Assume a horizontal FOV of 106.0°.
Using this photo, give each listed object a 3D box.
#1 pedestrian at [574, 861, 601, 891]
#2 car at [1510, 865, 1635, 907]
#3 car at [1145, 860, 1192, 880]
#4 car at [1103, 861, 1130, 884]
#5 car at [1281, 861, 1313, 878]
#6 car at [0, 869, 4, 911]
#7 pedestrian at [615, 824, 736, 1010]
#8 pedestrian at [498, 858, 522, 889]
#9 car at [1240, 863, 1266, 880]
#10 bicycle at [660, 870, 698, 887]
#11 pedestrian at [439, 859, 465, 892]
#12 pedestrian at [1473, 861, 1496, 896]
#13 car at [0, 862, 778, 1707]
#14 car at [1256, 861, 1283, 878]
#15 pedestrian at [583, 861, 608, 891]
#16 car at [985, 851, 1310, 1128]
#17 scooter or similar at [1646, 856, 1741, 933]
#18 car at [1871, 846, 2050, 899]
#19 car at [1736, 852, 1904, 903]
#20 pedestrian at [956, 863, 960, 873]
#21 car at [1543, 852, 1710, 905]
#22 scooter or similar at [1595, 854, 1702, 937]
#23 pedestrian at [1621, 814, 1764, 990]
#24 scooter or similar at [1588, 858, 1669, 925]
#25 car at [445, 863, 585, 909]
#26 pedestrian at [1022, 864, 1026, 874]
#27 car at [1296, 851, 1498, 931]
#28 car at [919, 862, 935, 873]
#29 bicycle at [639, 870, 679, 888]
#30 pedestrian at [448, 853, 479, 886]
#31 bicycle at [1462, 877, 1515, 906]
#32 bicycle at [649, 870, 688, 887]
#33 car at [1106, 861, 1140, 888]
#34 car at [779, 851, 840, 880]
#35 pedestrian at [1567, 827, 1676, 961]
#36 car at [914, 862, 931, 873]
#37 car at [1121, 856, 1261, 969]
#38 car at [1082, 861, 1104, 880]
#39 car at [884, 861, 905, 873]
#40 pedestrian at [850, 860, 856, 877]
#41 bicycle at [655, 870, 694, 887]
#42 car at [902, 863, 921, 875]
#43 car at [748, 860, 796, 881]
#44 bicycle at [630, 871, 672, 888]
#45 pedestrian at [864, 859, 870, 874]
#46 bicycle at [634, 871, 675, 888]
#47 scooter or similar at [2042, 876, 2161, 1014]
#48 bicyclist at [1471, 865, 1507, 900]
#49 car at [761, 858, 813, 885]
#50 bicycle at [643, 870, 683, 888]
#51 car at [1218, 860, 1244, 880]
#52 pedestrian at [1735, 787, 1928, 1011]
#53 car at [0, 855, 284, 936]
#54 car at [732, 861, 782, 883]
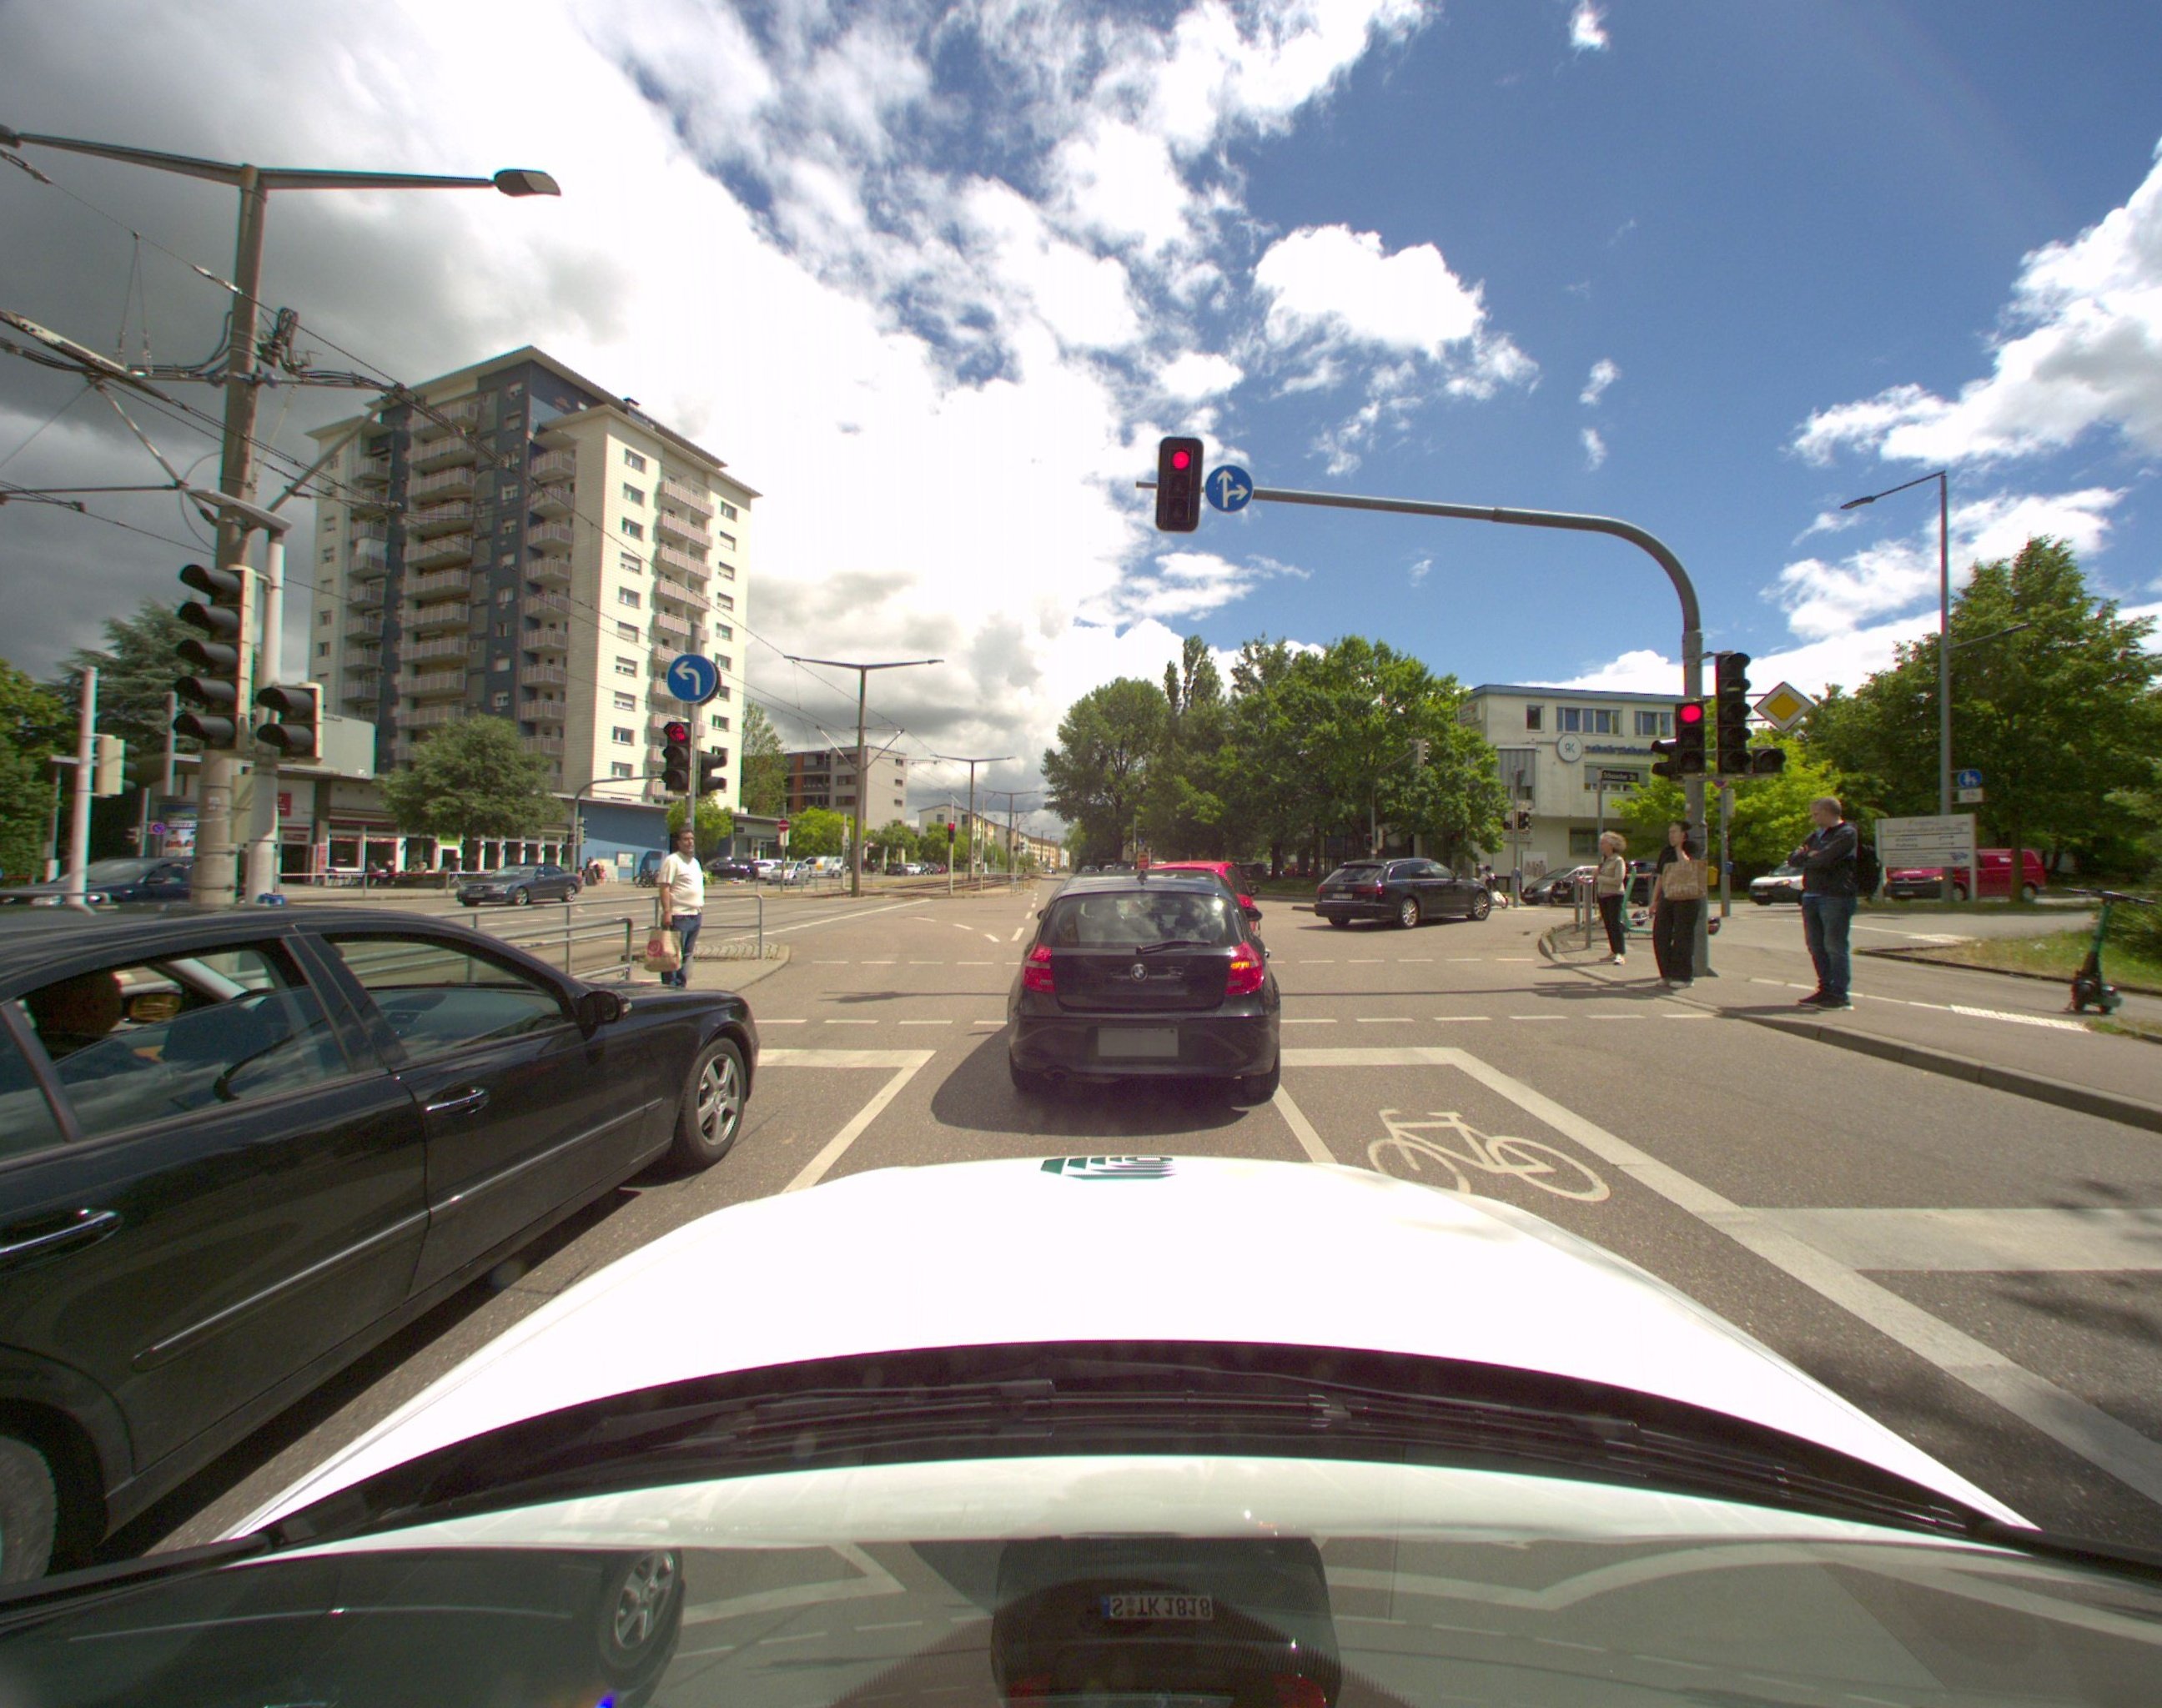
[{"bbox_3d":[-27.889,1.257,46.020,0.945,1.659,1.095,-1,-1,-11],"label":"pedestrian"},{"bbox_3d":[19.372,1.220,32.174,3.906,1.555,1.994,0,0,-9],"label":"car"},{"bbox_3d":[8.132,1.495,75.691,4.001,1.823,1.766,0,0,-21],"label":"car"},{"bbox_3d":[2.707,1.439,61.756,1.986,1.684,4.001,0,-1,2],"label":"car"},{"bbox_3d":[20.947,1.509,79.029,1.728,1.595,3.992,0,0,-5],"label":"car"},{"bbox_3d":[-38.286,1.197,26.517,3.977,1.398,1.697,0,-1,-2],"label":"car"},{"bbox_3d":[-4.114,0.613,8.319,0.866,1.808,0.741,0,0,-2],"label":"pedestrian"},{"bbox_3d":[-30.164,1.013,43.029,0.767,1.615,0.695,0,-1,-12],"label":"pedestrian"},{"bbox_3d":[16.296,1.627,77.404,1.626,1.573,4.030,0,0,-1],"label":"car"},{"bbox_3d":[-23.164,1.398,46.924,1.943,0.935,0.494,0,-1,-5],"label":"bicycle"},{"bbox_3d":[-31.542,1.059,40.831,0.767,1.615,0.695,0,-1,-12],"label":"pedestrian"},{"bbox_3d":[18.875,1.132,38.133,0.763,1.643,0.910,0,0,12],"label":"pedestrian"},{"bbox_3d":[-2.711,0.771,2.479,1.721,1.461,4.546,0,0,2],"label":"car"},{"bbox_3d":[18.205,1.440,78.653,1.626,1.595,3.998,0,0,-1],"label":"car"},{"bbox_3d":[-28.121,1.268,47.167,0.945,1.659,1.095,-1,-1,-11],"label":"pedestrian"},{"bbox_3d":[0.426,0.727,6.387,1.746,1.487,4.002,0,0,2],"label":"car"},{"bbox_3d":[10.368,0.682,13.791,1.225,1.240,0.555,2,0,-7],"label":"scooter or similar"},{"bbox_3d":[31.892,0.672,29.612,4.800,1.864,1.995,0,-2,-8],"label":"car"},{"bbox_3d":[26.296,0.816,29.054,4.555,1.717,1.995,0,0,-8],"label":"car"},{"bbox_3d":[-20.794,2.328,137.732,0.451,1.637,0.480,0,0,-1],"label":"pedestrian"},{"bbox_3d":[18.629,0.816,27.935,4.551,1.717,1.996,0,0,-5],"label":"car"},{"bbox_3d":[8.979,0.650,12.920,1.336,1.277,0.463,0,1,8],"label":"scooter or similar"},{"bbox_3d":[6.492,0.480,8.680,0.933,1.765,0.770,-1,0,-10],"label":"pedestrian"},{"bbox_3d":[9.887,0.663,14.705,1.360,1.156,0.540,1,0,-23],"label":"scooter or similar"},{"bbox_3d":[-19.056,1.033,27.683,1.630,1.399,4.492,0,-1,-1],"label":"car"},{"bbox_3d":[-9.208,2.452,131.360,0.477,1.637,0.454,0,-1,1],"label":"pedestrian"},{"bbox_3d":[7.034,0.730,17.977,4.540,1.554,1.978,0,-1,-35],"label":"car"},{"bbox_3d":[-21.303,1.866,112.865,1.758,1.395,3.993,0,0,-5],"label":"car"},{"bbox_3d":[-23.213,1.380,44.804,1.943,0.935,0.494,0,-1,-5],"label":"bicycle"},{"bbox_3d":[-36.039,0.898,47.528,0.862,1.917,1.214,0,0,-2],"label":"pedestrian"},{"bbox_3d":[12.510,1.149,25.078,0.788,0.819,1.808,0,0,2],"label":"bicycle"},{"bbox_3d":[-23.222,1.389,45.852,1.943,0.935,0.494,0,-1,-5],"label":"bicycle"},{"bbox_3d":[2.774,1.347,54.301,2.144,1.684,4.001,0,-1,2],"label":"car"},{"bbox_3d":[-24.329,0.981,72.729,2.848,2.478,6.642,0,0,-41],"label":"car"},{"bbox_3d":[7.068,0.507,10.704,0.945,1.674,0.874,-1,-1,17],"label":"pedestrian"},{"bbox_3d":[-21.020,1.799,108.235,1.758,1.395,3.993,0,0,-5],"label":"car"},{"bbox_3d":[1.768,0.759,12.270,1.529,1.441,3.211,0,0,18],"label":"car"},{"bbox_3d":[1.188,1.553,77.254,1.986,1.684,4.002,0,0,2],"label":"car"},{"bbox_3d":[-21.558,1.476,94.154,1.758,1.395,3.993,0,0,-5],"label":"car"},{"bbox_3d":[-23.089,1.481,82.502,0.547,1.716,0.667,0,-1,-8],"label":"pedestrian"},{"bbox_3d":[-23.148,1.394,46.432,1.943,0.935,0.494,0,-1,-5],"label":"bicycle"},{"bbox_3d":[-21.119,1.834,101.704,1.758,1.395,3.993,0,0,-5],"label":"car"},{"bbox_3d":[-24.448,1.276,64.381,4.165,1.538,1.973,0,0,45],"label":"car"},{"bbox_3d":[-23.145,1.371,43.820,1.943,0.935,0.494,0,-1,-5],"label":"bicycle"},{"bbox_3d":[-24.546,1.473,93.470,0.547,1.716,0.404,0,-1,-8],"label":"pedestrian"},{"bbox_3d":[-23.190,1.376,44.298,1.943,0.935,0.494,0,-1,-5],"label":"bicycle"},{"bbox_3d":[10.626,0.931,8.479,1.247,1.275,0.709,6,-1,-38],"label":"scooter or similar"},{"bbox_3d":[12.507,0.867,24.962,0.788,1.022,0.636,0,-1,1],"label":"bicyclist"},{"bbox_3d":[-19.355,1.120,53.776,1.930,1.693,3.874,0,0,2],"label":"car"},{"bbox_3d":[-23.235,1.385,45.280,1.943,0.935,0.494,0,-1,-5],"label":"bicycle"},{"bbox_3d":[14.049,1.496,76.512,1.626,1.811,4.030,0,0,-1],"label":"car"},{"bbox_3d":[6.899,0.390,7.541,0.963,1.942,0.896,0,0,-3],"label":"pedestrian"},{"bbox_3d":[-19.044,0.772,16.541,1.625,1.414,4.249,-1,-1,-2],"label":"car"},{"bbox_3d":[-24.399,1.305,61.234,4.165,1.570,1.973,0,0,45],"label":"car"}]
